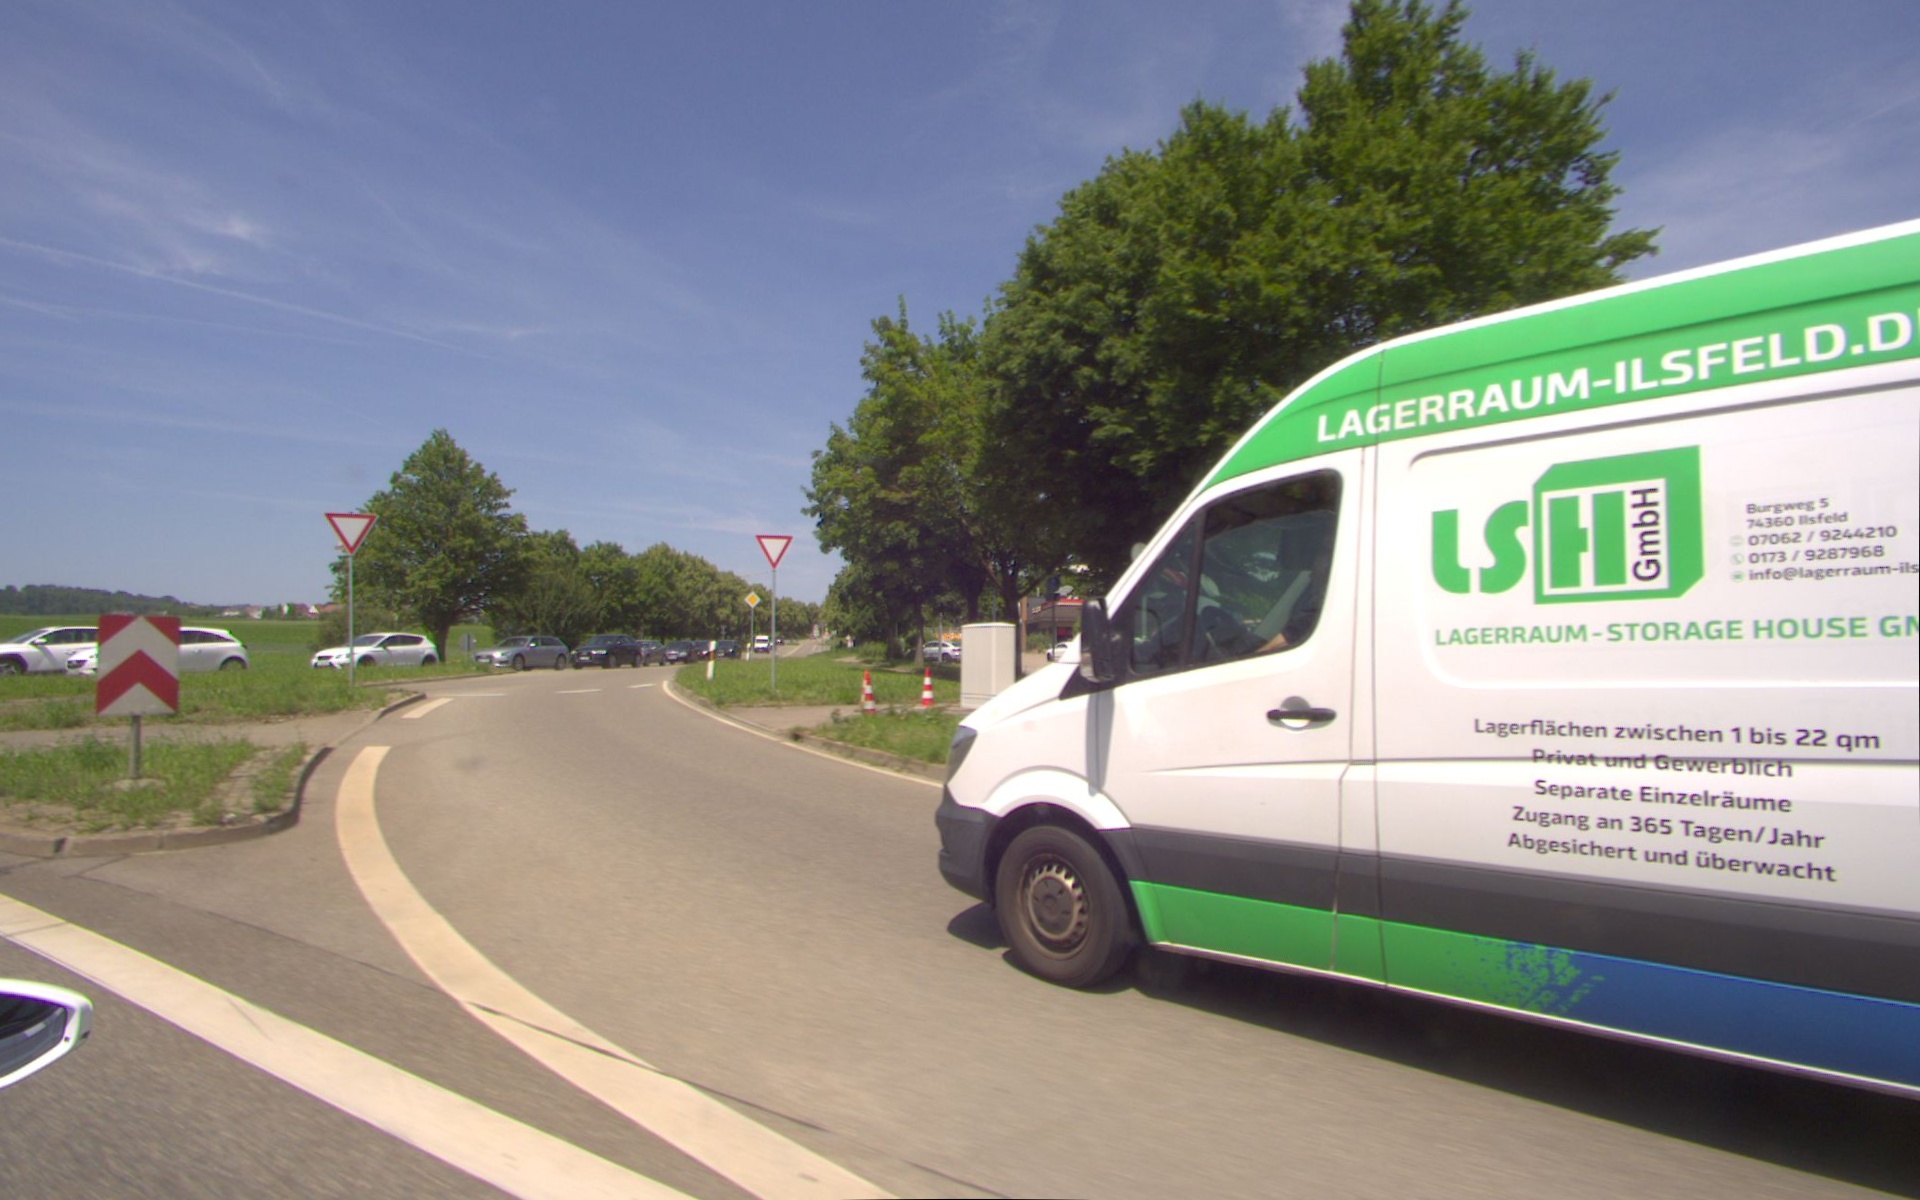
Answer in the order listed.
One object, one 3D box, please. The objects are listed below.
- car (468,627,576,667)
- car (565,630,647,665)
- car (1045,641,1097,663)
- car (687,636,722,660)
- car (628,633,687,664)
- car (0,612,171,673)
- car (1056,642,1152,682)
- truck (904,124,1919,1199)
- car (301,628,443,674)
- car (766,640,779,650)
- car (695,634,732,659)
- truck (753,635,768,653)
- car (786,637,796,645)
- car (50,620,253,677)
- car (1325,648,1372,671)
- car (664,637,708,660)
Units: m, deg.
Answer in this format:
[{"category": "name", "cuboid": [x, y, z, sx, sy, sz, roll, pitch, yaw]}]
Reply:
[{"category": "car", "cuboid": [-17.609, 1.920, 40.490, 1.767, 1.528, 4.563, -1, -3, 10]}, {"category": "car", "cuboid": [-16.287, 2.254, 46.380, 1.766, 1.528, 4.566, -1, -4, 6]}, {"category": "car", "cuboid": [8.236, 3.863, 74.516, 1.847, 1.579, 4.489, 0, -3, -23]}, {"category": "car", "cuboid": [-16.828, 3.175, 66.164, 1.766, 1.529, 4.233, 0, -3, -8]}, {"category": "car", "cuboid": [-16.035, 2.574, 53.230, 1.766, 1.529, 4.565, -1, -3, 0]}, {"category": "car", "cuboid": [-25.811, 1.249, 28.696, 1.968, 1.627, 4.624, -2, -4, 29]}, {"category": "car", "cuboid": [5.282, 2.286, 37.315, 1.730, 1.380, 4.312, 0, -3, -20]}, {"category": "truck", "cuboid": [2.656, 0.268, 3.542, 5.875, 2.771, 2.058, 0, -3, 41]}, {"category": "car", "cuboid": [-19.798, 1.683, 33.926, 1.768, 1.437, 4.102, -1, -2, 16]}, {"category": "car", "cuboid": [-31.848, 7.731, 170.342, 1.962, 1.669, 4.001, 0, -2, -8]}, {"category": "car", "cuboid": [-17.541, 3.345, 71.537, 1.961, 1.719, 4.293, -1, -2, -6]}, {"category": "truck", "cuboid": [-28.923, 6.396, 145.421, 1.962, 2.630, 4.001, -1, -2, -8]}, {"category": "car", "cuboid": [-36.186, 8.801, 214.114, 1.962, 1.669, 4.001, 0, -2, -8]}, {"category": "car", "cuboid": [-21.941, 1.291, 27.366, 1.797, 1.437, 3.964, -2, -2, 22]}, {"category": "car", "cuboid": [24.800, 3.792, 64.032, 1.694, 1.397, 3.843, 0, -2, 2]}, {"category": "car", "cuboid": [-16.365, 2.892, 59.967, 1.766, 1.289, 4.564, -1, -3, -6]}]
